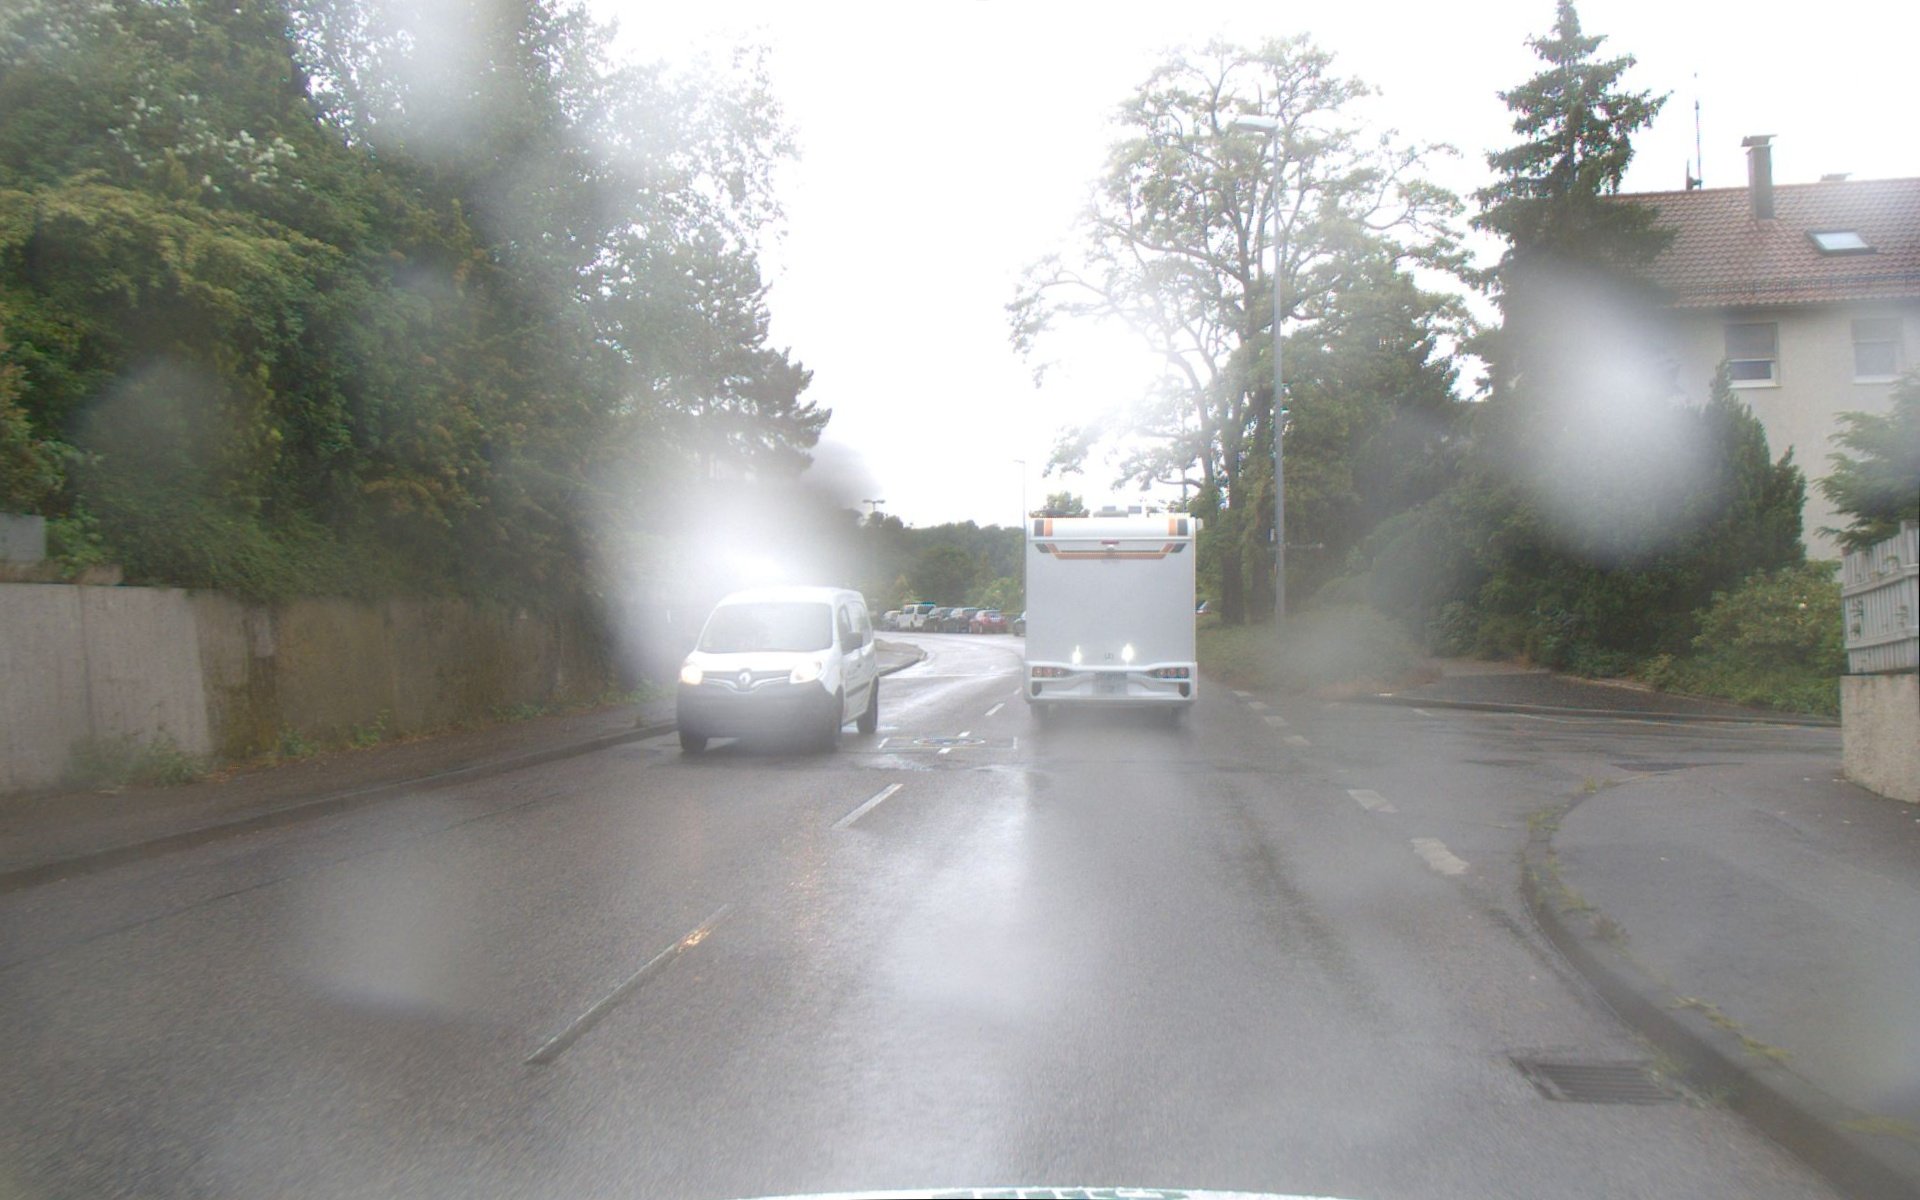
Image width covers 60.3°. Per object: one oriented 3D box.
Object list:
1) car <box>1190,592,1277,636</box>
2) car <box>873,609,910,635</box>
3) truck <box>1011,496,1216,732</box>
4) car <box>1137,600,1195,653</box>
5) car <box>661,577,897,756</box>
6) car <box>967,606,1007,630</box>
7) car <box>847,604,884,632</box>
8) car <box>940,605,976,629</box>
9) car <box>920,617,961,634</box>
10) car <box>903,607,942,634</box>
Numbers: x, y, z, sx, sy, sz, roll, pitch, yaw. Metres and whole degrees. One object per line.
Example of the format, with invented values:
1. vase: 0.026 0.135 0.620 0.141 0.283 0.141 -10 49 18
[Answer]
1. car: 12.172 0.630 73.778 3.549 1.693 2.000 3 -3 2
2. car: -5.150 1.690 124.495 1.621 1.751 3.976 4 -3 -20
3. truck: 2.243 0.335 23.857 2.462 2.867 6.204 2 -3 6
4. car: 7.447 0.990 60.168 1.951 1.669 4.002 2 -3 6
5. car: -1.930 0.700 19.028 1.801 1.786 4.423 1 -1 5
6. car: 1.680 1.132 103.307 1.514 1.350 3.850 3 -3 -14
7. car: -7.760 1.492 135.729 1.714 2.080 4.487 4 -3 -20
8. car: -0.149 1.147 107.943 1.513 1.350 3.987 3 -3 -12
9. car: -1.377 1.769 113.747 1.621 1.120 3.977 0 -1 -20
10. car: -2.723 1.516 118.856 1.621 1.751 3.976 4 -3 -20
